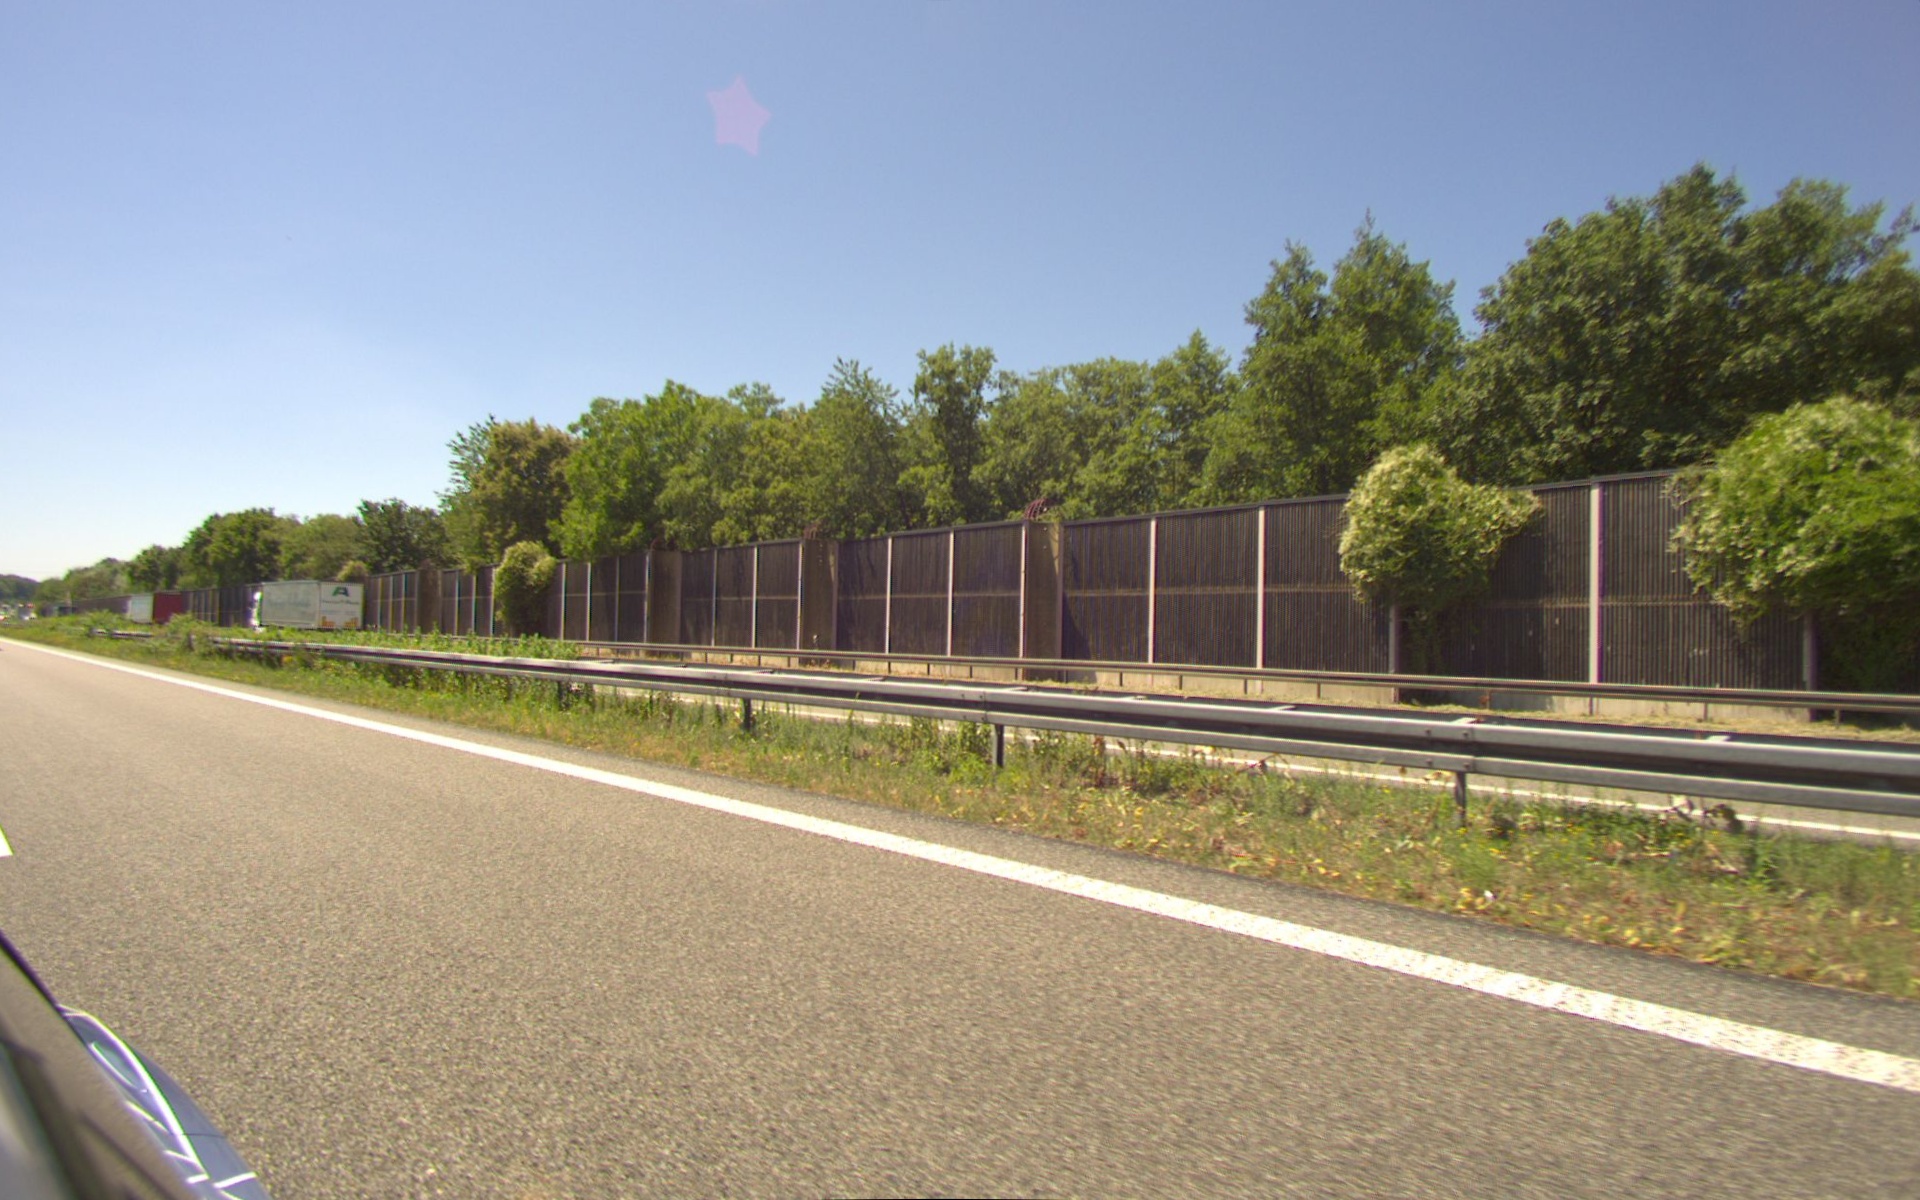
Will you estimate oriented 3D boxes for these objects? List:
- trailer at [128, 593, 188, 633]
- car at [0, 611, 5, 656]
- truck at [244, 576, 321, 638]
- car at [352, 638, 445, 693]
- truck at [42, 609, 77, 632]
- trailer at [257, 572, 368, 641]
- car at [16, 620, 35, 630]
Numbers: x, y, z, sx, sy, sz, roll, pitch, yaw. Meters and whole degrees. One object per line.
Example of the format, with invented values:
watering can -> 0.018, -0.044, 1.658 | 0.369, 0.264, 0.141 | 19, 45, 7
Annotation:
trailer -> -86.832, 1.397, 109.451 | 14.304, 4.053, 2.705 | -1, -2, 43
car -> -39.730, 1.288, 40.330 | 4.372, 1.741, 1.885 | -1, -3, 40
truck -> -48.473, 0.556, 72.341 | 7.141, 4.215, 2.803 | -1, -3, 43
car -> -23.119, 2.614, 41.579 | 4.896, 2.029, 1.972 | -1, -1, 43
truck -> -153.732, 3.560, 172.761 | 12.367, 3.703, 3.056 | -1, -3, 43
trailer -> -43.563, 0.503, 67.773 | 13.310, 4.215, 2.878 | -1, -3, 43
car -> -157.584, 4.202, 170.611 | 4.493, 1.602, 1.971 | -1, -3, 43
